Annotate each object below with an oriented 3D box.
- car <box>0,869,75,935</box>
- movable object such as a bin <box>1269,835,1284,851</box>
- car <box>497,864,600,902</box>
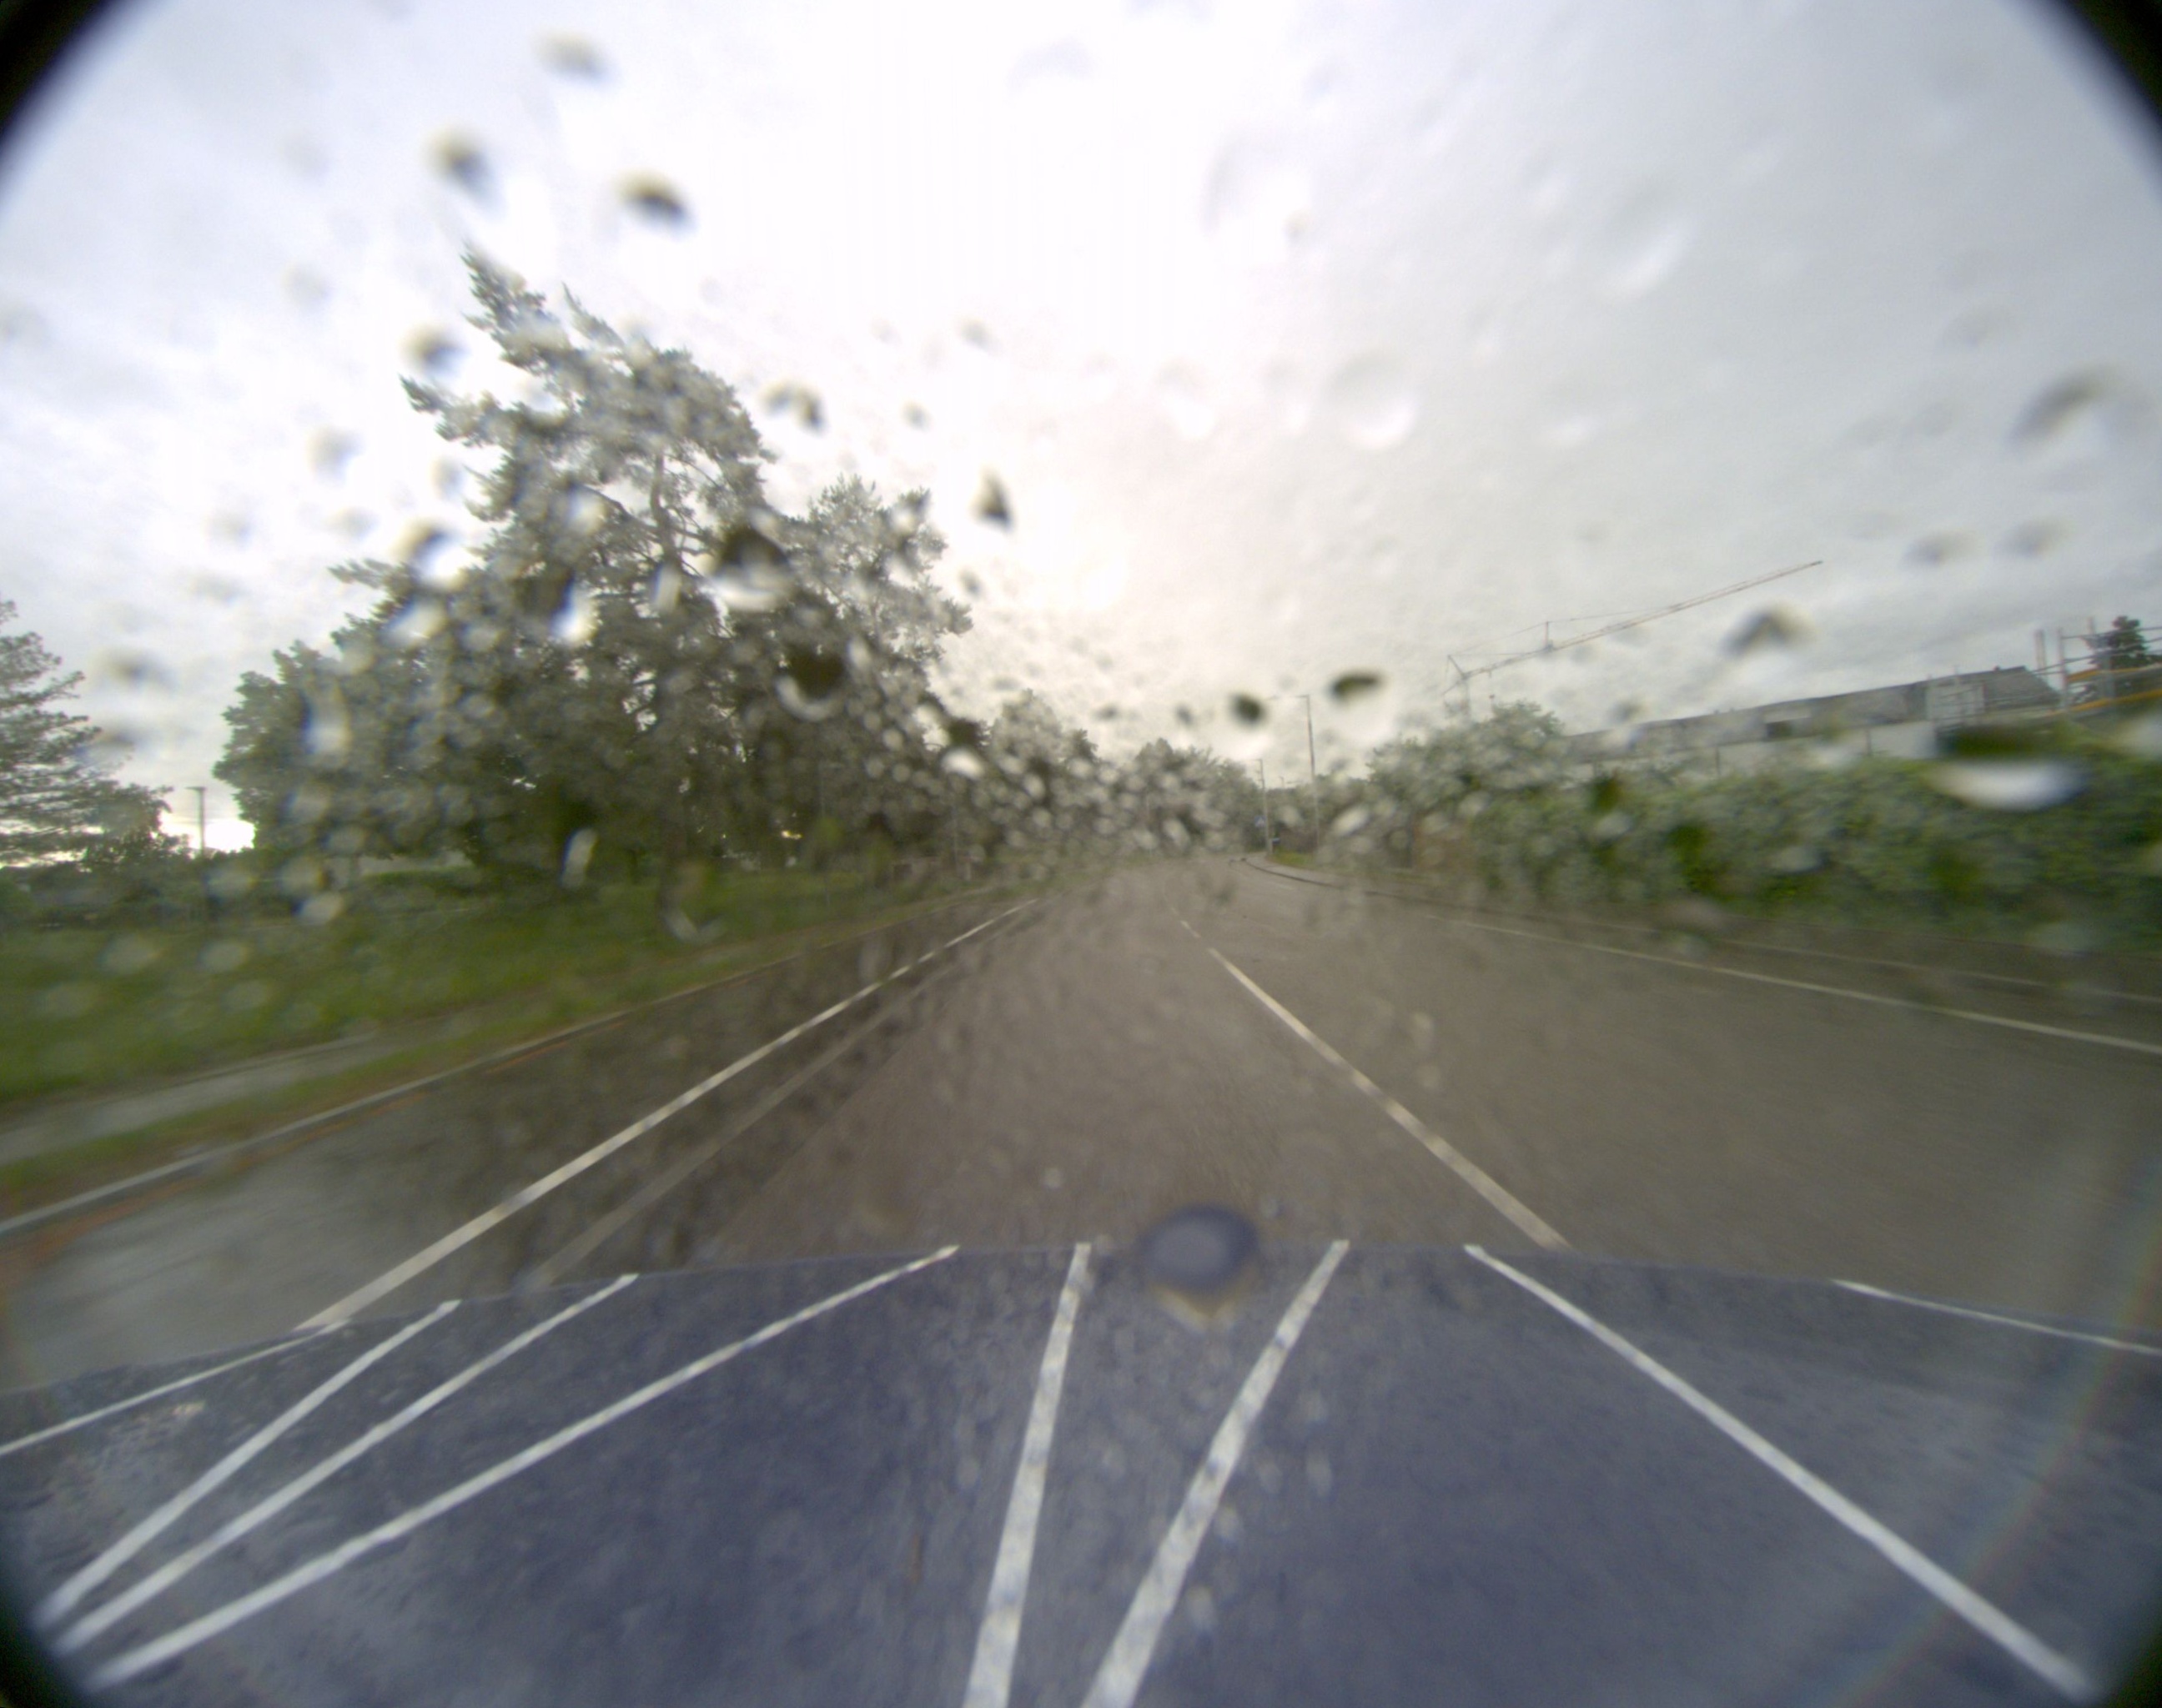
[{"bbox_3d":[-44.092,1.937,29.200,6.685,2.483,2.613,-2,-2,-7],"label":"car"},{"bbox_3d":[18.047,-1.013,70.074,1.133,1.314,1.364,-7,-1,19],"label":"movable object such as a bin"},{"bbox_3d":[-27.451,1.458,39.354,1.828,1.643,4.004,-2,1,17],"label":"car"}]
